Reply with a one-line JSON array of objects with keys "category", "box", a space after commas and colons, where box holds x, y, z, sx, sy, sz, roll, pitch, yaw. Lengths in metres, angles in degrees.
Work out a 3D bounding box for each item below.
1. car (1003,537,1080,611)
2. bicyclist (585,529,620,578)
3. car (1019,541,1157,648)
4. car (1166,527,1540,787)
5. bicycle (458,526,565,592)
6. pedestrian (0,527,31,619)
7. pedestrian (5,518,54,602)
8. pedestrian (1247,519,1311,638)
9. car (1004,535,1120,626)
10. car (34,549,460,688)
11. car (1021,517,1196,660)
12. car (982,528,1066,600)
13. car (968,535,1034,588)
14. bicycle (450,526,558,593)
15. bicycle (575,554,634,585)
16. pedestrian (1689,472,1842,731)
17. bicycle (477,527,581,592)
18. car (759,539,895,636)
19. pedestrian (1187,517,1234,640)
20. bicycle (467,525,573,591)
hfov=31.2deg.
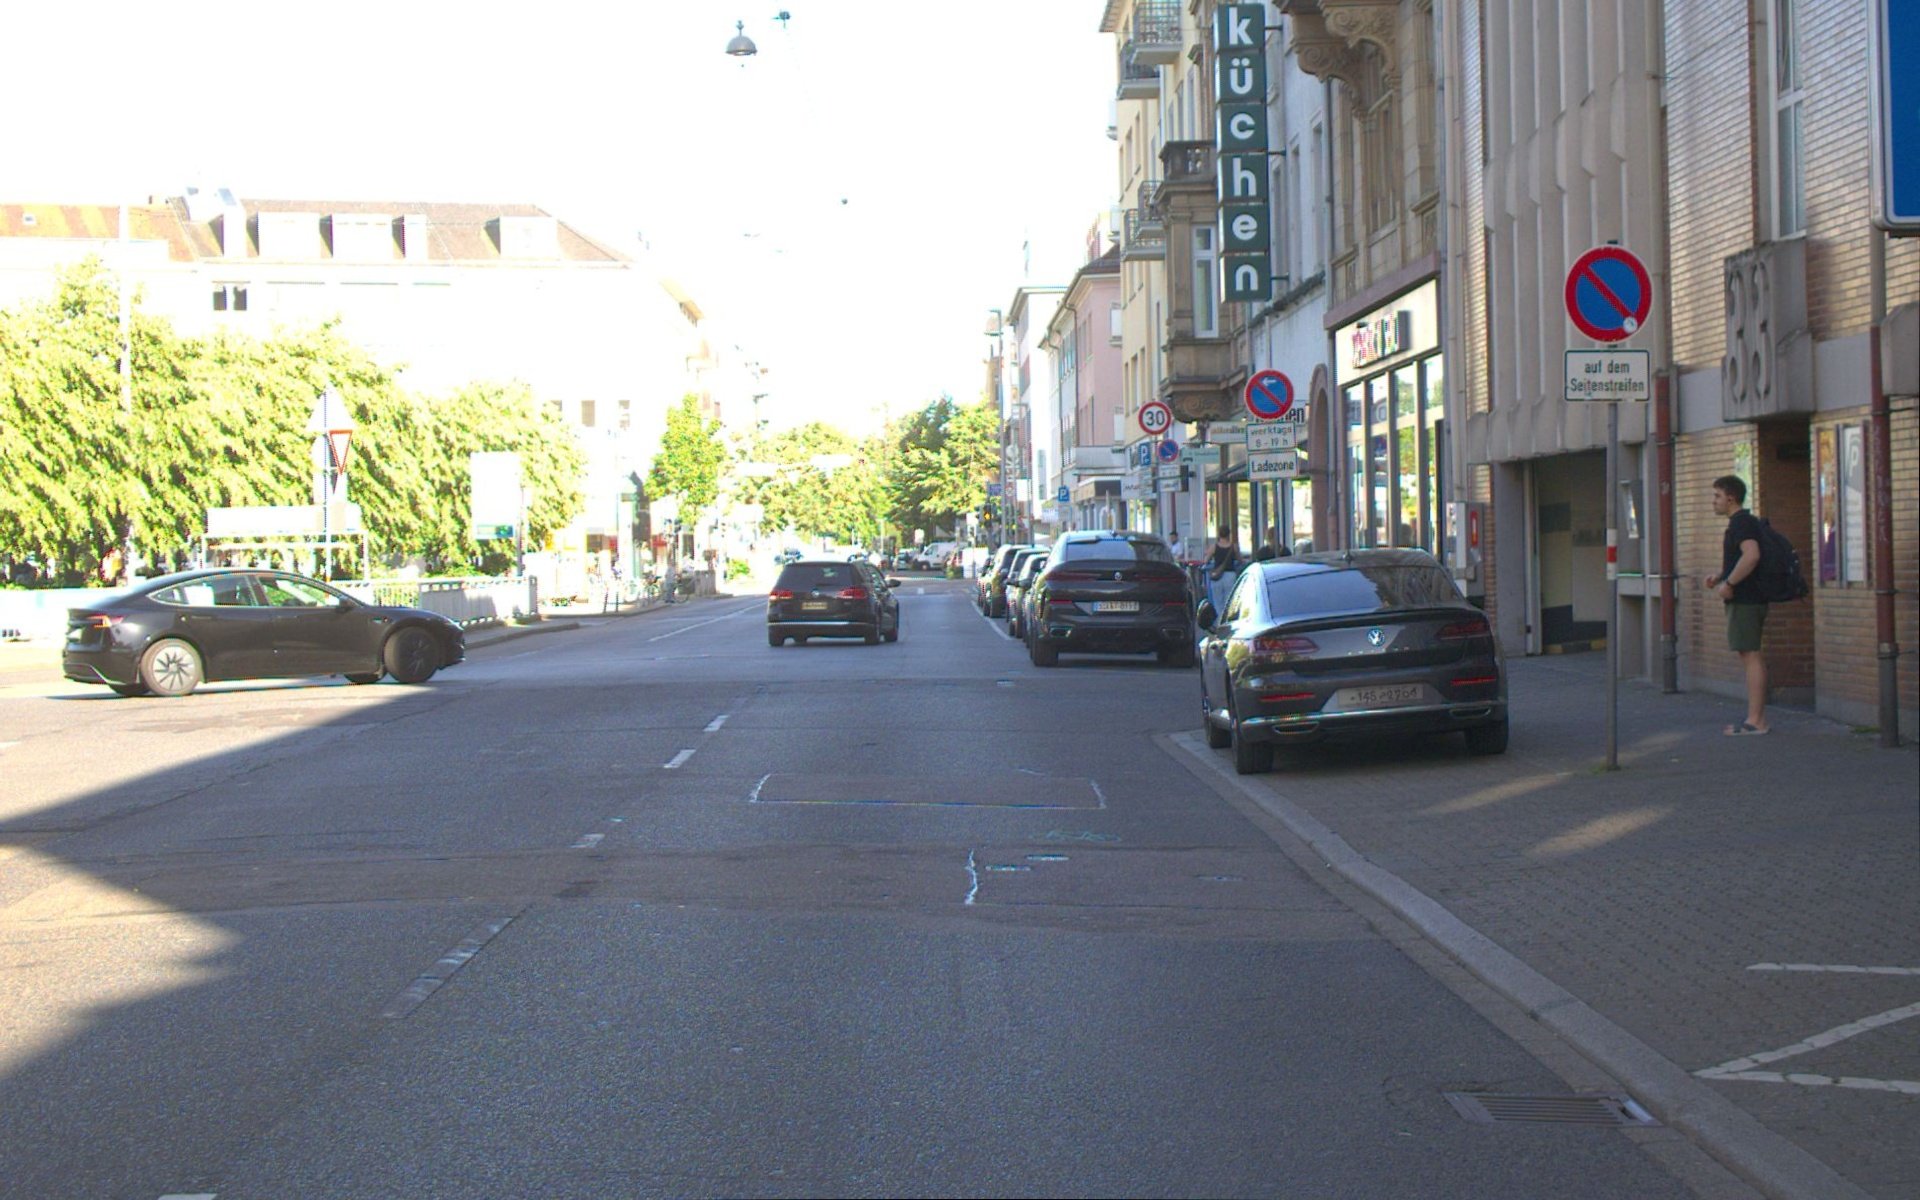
[{"category": "car", "box": [1.735, -0.578, 74.013, 1.613, 1.541, 2.855, 0, 1, 1]}, {"category": "bicyclist", "box": [-12.438, -1.620, 119.691, 1.146, 1.680, 0.819, -1, 1, -4]}, {"category": "car", "box": [1.837, -0.115, 50.586, 1.839, 1.482, 4.185, 0, 1, 0]}, {"category": "car", "box": [2.641, 0.309, 24.297, 1.917, 1.473, 4.965, -5, 1, 0]}, {"category": "bicycle", "box": [-13.883, -1.270, 106.418, 3.122, 2.007, 0.908, -1, 1, 9]}, {"category": "pedestrian", "box": [-22.004, -0.631, 79.127, 0.733, 2.101, 0.966, -1, 1, 22]}, {"category": "pedestrian", "box": [-23.733, -1.026, 87.689, 0.733, 2.101, 0.966, -1, 1, 22]}, {"category": "pedestrian", "box": [4.620, -0.311, 49.833, 0.801, 1.669, 0.589, -3, 1, 2]}, {"category": "car", "box": [1.770, -0.375, 60.963, 1.839, 1.541, 4.229, 0, 1, -1]}, {"category": "car", "box": [-8.317, 0.182, 40.124, 4.480, 1.475, 2.002, -1, 1, -26]}, {"category": "car", "box": [1.828, -0.196, 43.709, 1.973, 1.719, 4.824, 0, 1, 0]}, {"category": "car", "box": [1.462, -0.823, 79.731, 1.716, 1.630, 4.085, 0, 0, -2]}, {"category": "car", "box": [1.134, -1.067, 97.079, 1.792, 1.455, 3.868, 0, 0, 0]}, {"category": "bicycle", "box": [-13.990, -1.240, 105.462, 3.122, 2.007, 0.908, -1, 1, 9]}, {"category": "bicycle", "box": [-12.374, -1.073, 119.698, 2.011, 1.018, 0.762, -1, 1, -4]}, {"category": "pedestrian", "box": [5.295, -0.001, 22.635, 0.691, 1.630, 0.889, -4, 1, -1]}, {"category": "bicycle", "box": [-13.592, -1.289, 108.456, 3.122, 2.007, 0.908, -1, 1, 9]}, {"category": "car", "box": [-2.122, -0.230, 55.984, 1.935, 1.482, 4.271, -1, 1, 1]}, {"category": "pedestrian", "box": [3.636, -0.309, 49.901, 0.620, 1.760, 0.518, -1, 1, 2]}, {"category": "bicycle", "box": [-13.752, -1.302, 107.410, 3.122, 2.007, 0.908, -1, 1, 9]}]
